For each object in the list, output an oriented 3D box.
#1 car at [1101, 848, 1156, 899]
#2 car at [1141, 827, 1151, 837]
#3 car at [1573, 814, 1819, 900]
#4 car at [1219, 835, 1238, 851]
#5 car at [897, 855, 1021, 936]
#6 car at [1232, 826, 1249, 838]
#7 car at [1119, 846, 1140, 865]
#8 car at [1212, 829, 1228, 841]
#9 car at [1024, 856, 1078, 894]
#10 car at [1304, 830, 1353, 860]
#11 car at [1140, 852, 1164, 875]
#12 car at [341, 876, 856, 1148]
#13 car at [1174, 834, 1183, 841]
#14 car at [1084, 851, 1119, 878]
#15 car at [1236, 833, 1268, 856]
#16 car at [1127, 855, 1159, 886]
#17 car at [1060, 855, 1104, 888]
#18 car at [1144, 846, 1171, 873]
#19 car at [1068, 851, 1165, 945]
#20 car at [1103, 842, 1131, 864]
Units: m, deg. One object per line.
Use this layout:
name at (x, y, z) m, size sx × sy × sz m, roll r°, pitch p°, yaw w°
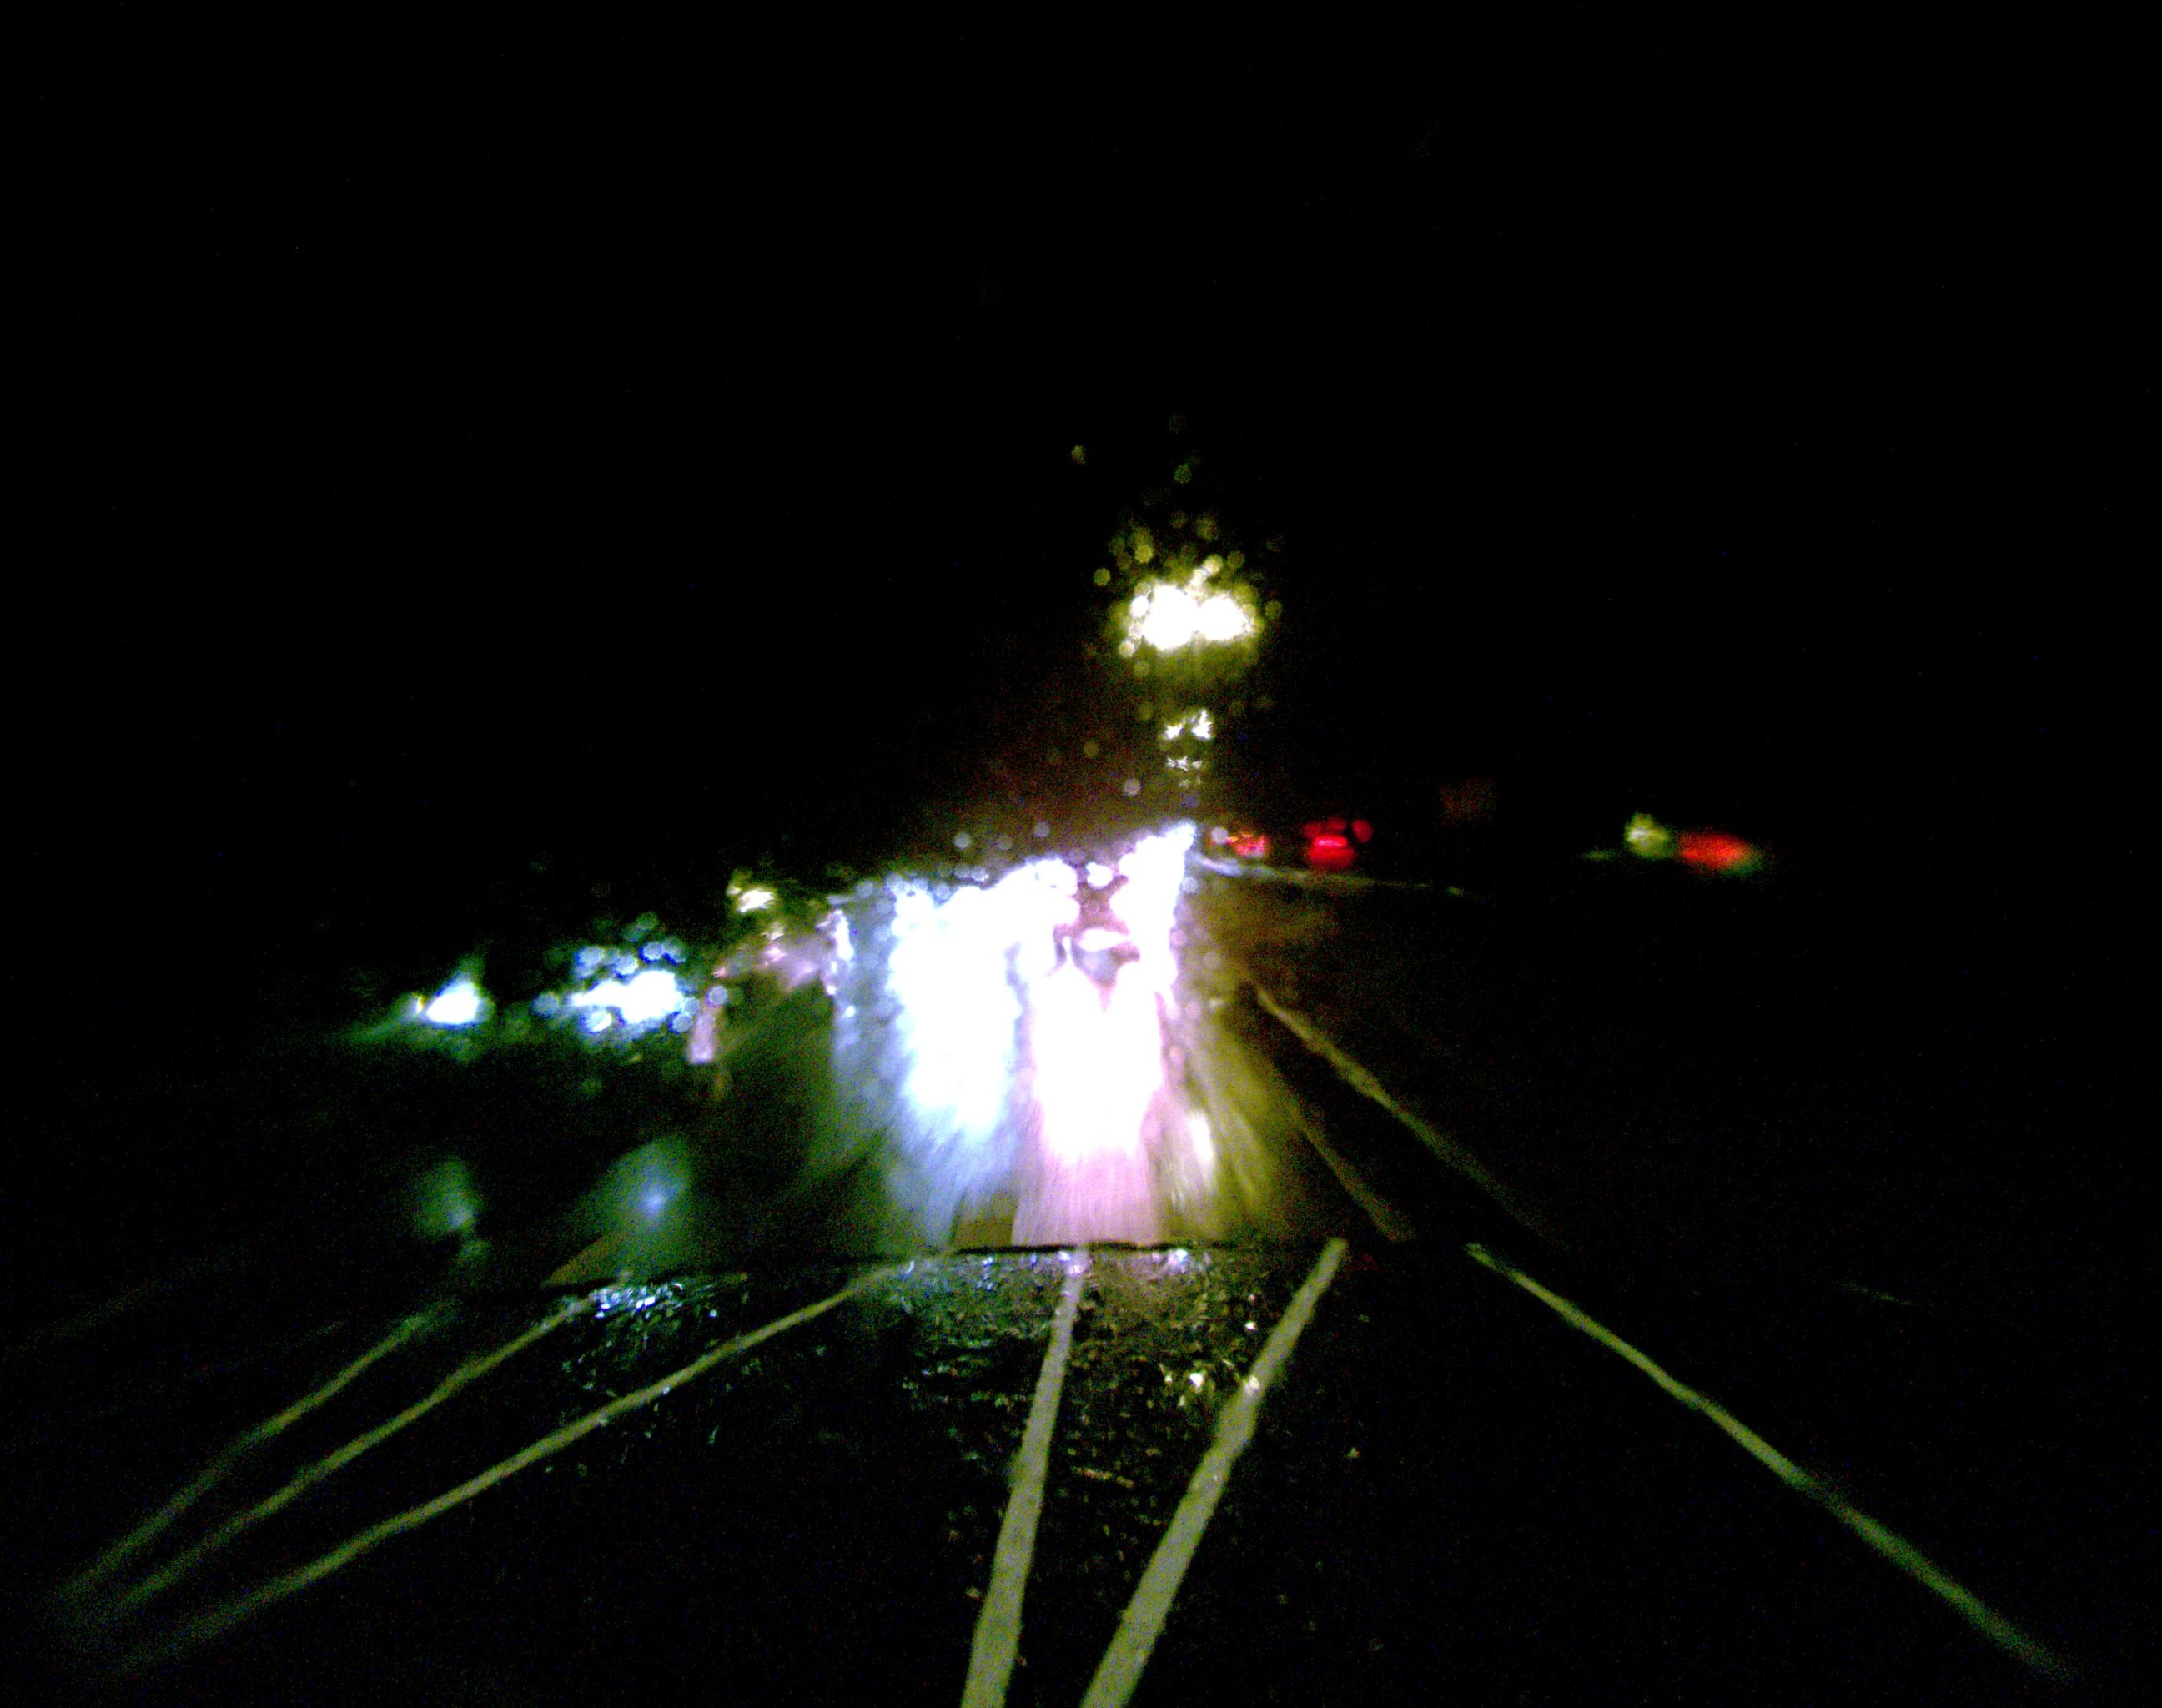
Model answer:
car at (1.730, 0.640, 26.507) m, size 1.605 × 1.417 × 3.390 m, roll -6°, pitch 1°, yaw 7°
car at (14.067, -4.707, 165.255) m, size 1.998 × 2.002 × 4.001 m, roll -4°, pitch 1°, yaw 6°
car at (12.259, 0.023, 15.530) m, size 1.739 × 1.487 × 3.939 m, roll -2°, pitch 1°, yaw -2°
car at (17.453, -1.295, 90.022) m, size 1.769 × 1.622 × 4.249 m, roll -4°, pitch 3°, yaw 6°
car at (-2.835, 0.915, 18.734) m, size 1.710 × 1.513 × 4.415 m, roll -4°, pitch 1°, yaw 7°
car at (26.528, -3.605, 126.303) m, size 1.875 × 1.849 × 3.999 m, roll -5°, pitch 1°, yaw 1°
car at (5.172, 0.094, 80.693) m, size 1.997 × 1.790 × 4.001 m, roll -3°, pitch 1°, yaw 7°
car at (20.628, -2.780, 112.805) m, size 1.873 × 1.598 × 4.249 m, roll -4°, pitch 2°, yaw 7°
car at (-1.352, 0.953, 36.031) m, size 1.742 × 1.409 × 4.141 m, roll -4°, pitch 1°, yaw 8°
car at (14.400, -0.532, 44.440) m, size 1.778 × 1.584 × 4.561 m, roll -3°, pitch 1°, yaw 7°
car at (5.261, 0.689, 56.523) m, size 1.605 × 1.417 × 3.389 m, roll -6°, pitch 1°, yaw 5°
car at (-3.775, 1.084, 7.149) m, size 1.677 × 1.497 × 4.560 m, roll -5°, pitch 0°, yaw 2°
car at (24.127, -4.082, 187.516) m, size 1.997 × 1.669 × 4.001 m, roll -4°, pitch 1°, yaw 9°
car at (1.494, 0.703, 53.461) m, size 1.997 × 1.589 × 4.393 m, roll -3°, pitch 1°, yaw 7°
car at (12.830, -0.715, 57.182) m, size 1.852 × 1.562 × 3.509 m, roll -4°, pitch 0°, yaw 6°
car at (3.592, 0.899, 43.674) m, size 1.605 × 1.417 × 3.389 m, roll -6°, pitch 1°, yaw 5°
car at (0.121, 0.991, 44.222) m, size 1.997 × 1.589 × 4.393 m, roll -3°, pitch 1°, yaw 7°
car at (6.471, 0.435, 64.594) m, size 1.998 × 2.002 × 4.000 m, roll -5°, pitch 1°, yaw 3°
car at (0.737, 0.712, 13.918) m, size 1.496 × 1.416 × 3.390 m, roll -3°, pitch 1°, yaw 6°
car at (3.046, -0.124, 63.717) m, size 1.997 × 1.589 × 4.393 m, roll -3°, pitch 1°, yaw 7°
